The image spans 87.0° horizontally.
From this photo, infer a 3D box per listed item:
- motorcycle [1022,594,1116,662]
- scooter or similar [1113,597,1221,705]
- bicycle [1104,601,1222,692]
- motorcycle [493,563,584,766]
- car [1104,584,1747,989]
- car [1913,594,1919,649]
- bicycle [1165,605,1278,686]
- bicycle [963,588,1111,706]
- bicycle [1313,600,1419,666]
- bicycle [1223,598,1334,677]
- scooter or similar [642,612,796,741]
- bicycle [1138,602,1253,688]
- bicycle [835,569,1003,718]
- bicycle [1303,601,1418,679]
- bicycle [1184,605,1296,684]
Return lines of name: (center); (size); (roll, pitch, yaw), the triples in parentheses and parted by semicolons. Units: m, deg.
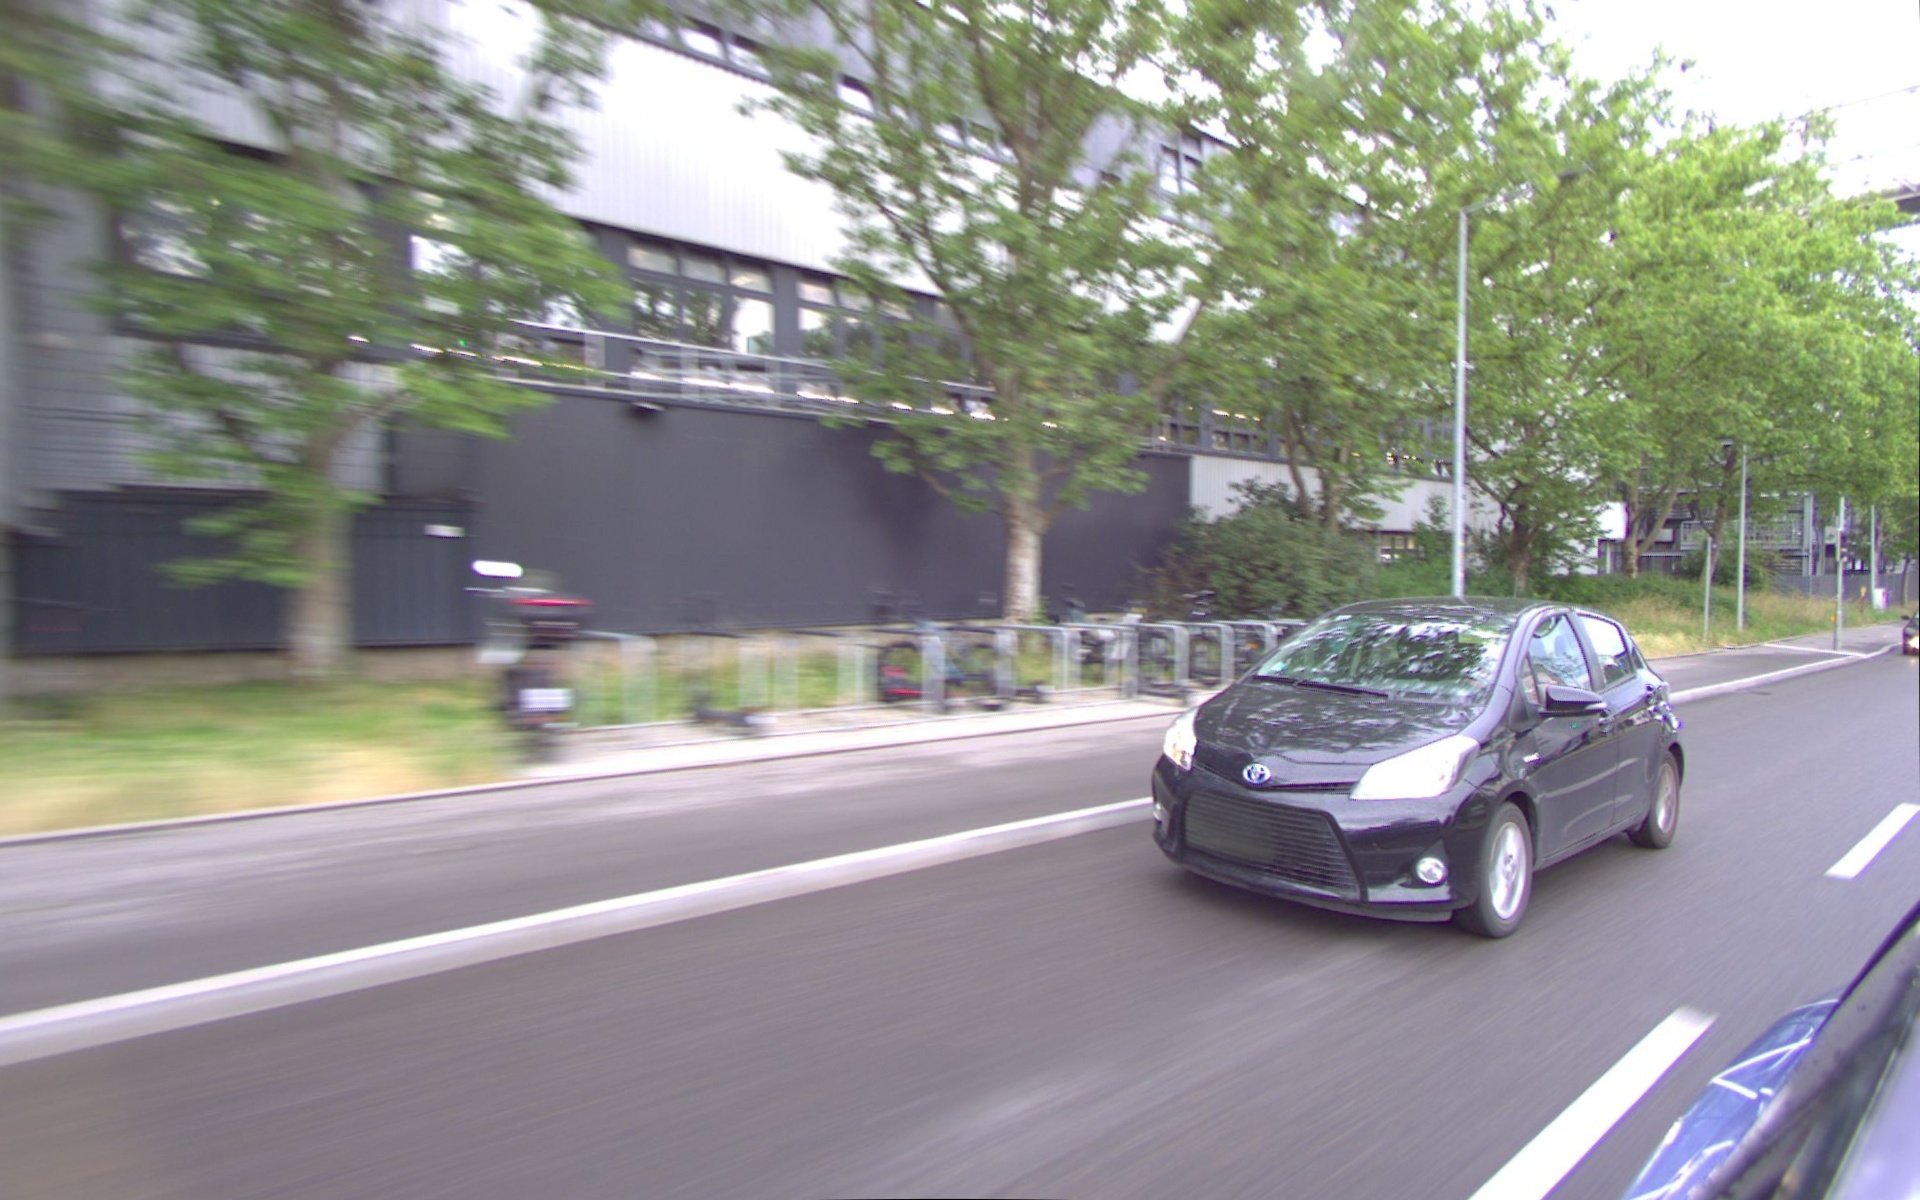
motorcycle: (1.820, 0.445, 17.068); (0.567, 1.014, 1.611); (0, 3, -40)
scooter or similar: (2.330, 0.550, 11.471); (0.307, 1.104, 1.214); (0, 3, -44)
bicycle: (2.574, 0.564, 12.958); (0.386, 1.017, 1.555); (0, 3, -40)
motorcycle: (-3.186, 0.390, 7.562); (0.432, 1.288, 2.019); (1, 2, -28)
car: (3.009, 0.668, 5.969); (4.560, 1.488, 1.748); (-1, 2, -41)
car: (27.539, 0.551, 27.650); (4.439, 1.448, 1.748); (-1, 2, -41)
bicycle: (3.585, 0.600, 13.994); (0.386, 0.970, 1.555); (0, 3, -40)
bicycle: (0.838, 0.484, 11.495); (1.789, 1.181, 0.441); (4, 3, 44)
bicycle: (6.661, 0.522, 16.658); (0.380, 0.951, 1.611); (0, 3, -40)
bicycle: (4.633, 0.523, 14.789); (0.386, 1.017, 1.555); (0, 3, -40)
scooter or similar: (-2.075, 0.620, 8.636); (1.467, 0.948, 0.362); (3, 2, 33)
bicycle: (3.129, 0.574, 13.551); (0.386, 1.017, 1.555); (0, 3, -40)
bicycle: (-0.452, 0.393, 10.331); (1.854, 1.364, 0.442); (3, 2, 38)
bicycle: (5.855, 0.561, 14.863); (0.386, 1.017, 1.555); (0, 3, -40)
bicycle: (3.913, 0.596, 14.239); (0.386, 0.970, 1.555); (0, 3, -40)
